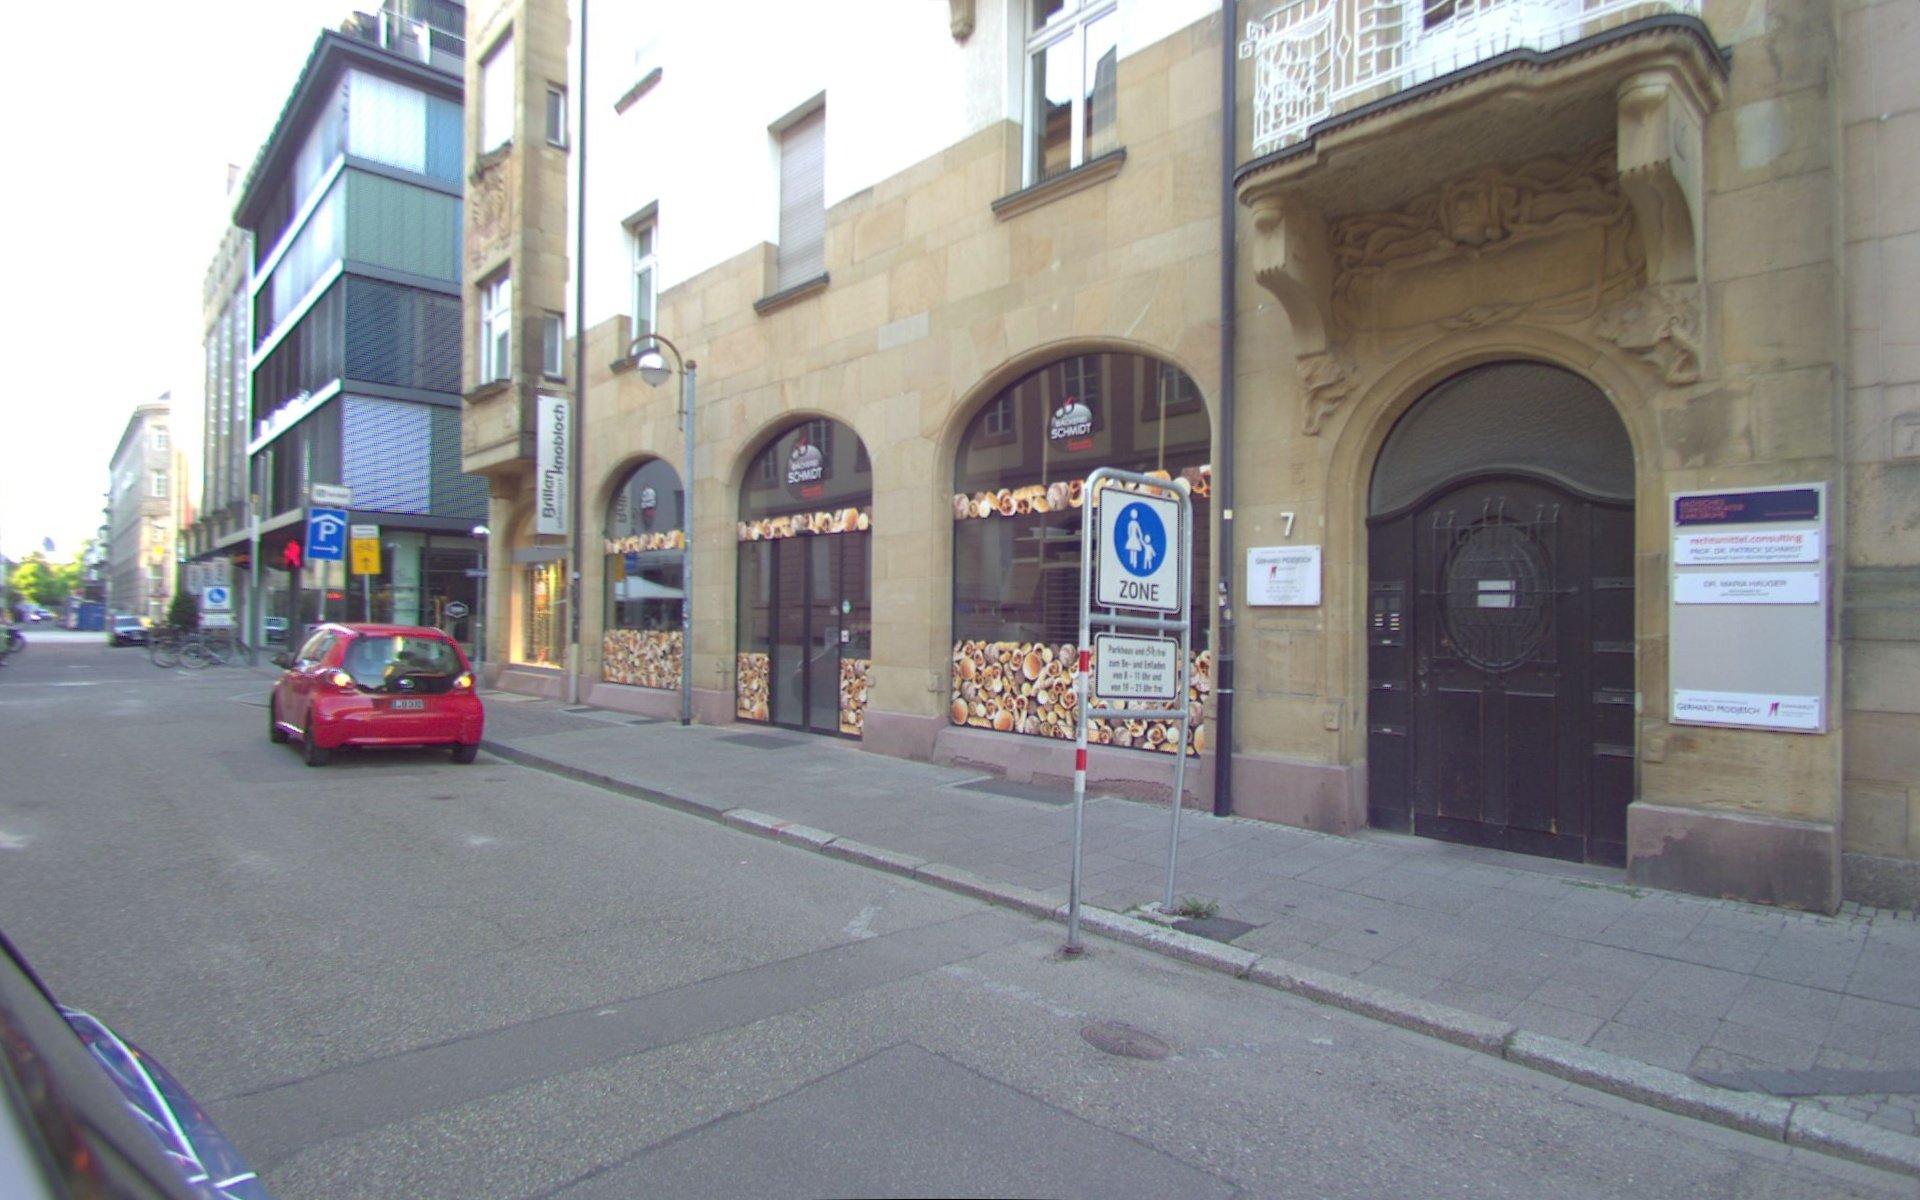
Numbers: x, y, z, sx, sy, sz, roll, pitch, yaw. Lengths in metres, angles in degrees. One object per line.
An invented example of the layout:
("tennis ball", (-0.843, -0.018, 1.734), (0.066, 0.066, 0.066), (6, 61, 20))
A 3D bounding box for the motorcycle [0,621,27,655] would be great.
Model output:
("motorcycle", (-37.374, 1.446, 38.903), (2.160, 1.292, 0.652), (3, -3, -41))

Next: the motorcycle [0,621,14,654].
("motorcycle", (-38.824, 1.460, 39.910), (2.160, 1.292, 0.652), (3, -3, -41))

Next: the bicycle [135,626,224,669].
("bicycle", (-21.879, 1.321, 28.402), (1.924, 1.139, 0.621), (1, -1, -42))

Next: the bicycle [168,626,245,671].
("bicycle", (-19.983, 1.277, 26.857), (1.583, 1.127, 0.621), (1, -1, -42))

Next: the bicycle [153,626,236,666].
("bicycle", (-22.732, 1.356, 30.075), (1.924, 1.139, 0.527), (1, -1, -42))

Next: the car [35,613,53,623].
("car", (-120.600, 2.317, 133.252), (3.562, 1.276, 1.407), (-1, -1, 42))

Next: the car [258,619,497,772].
("car", (-6.616, 0.991, 11.379), (1.613, 1.452, 3.160), (6, -5, -42))

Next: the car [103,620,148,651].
("car", (-39.491, 1.648, 47.846), (1.405, 1.428, 3.899), (1, -1, -43))

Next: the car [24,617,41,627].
("car", (-103.893, 2.430, 113.363), (1.405, 1.104, 3.566), (1, -1, -43))

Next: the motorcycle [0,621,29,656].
("motorcycle", (-36.689, 1.437, 38.223), (2.160, 1.292, 0.652), (3, -3, -41))

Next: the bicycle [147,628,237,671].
("bicycle", (-21.119, 1.345, 27.864), (1.924, 1.139, 0.621), (1, -1, -42))
